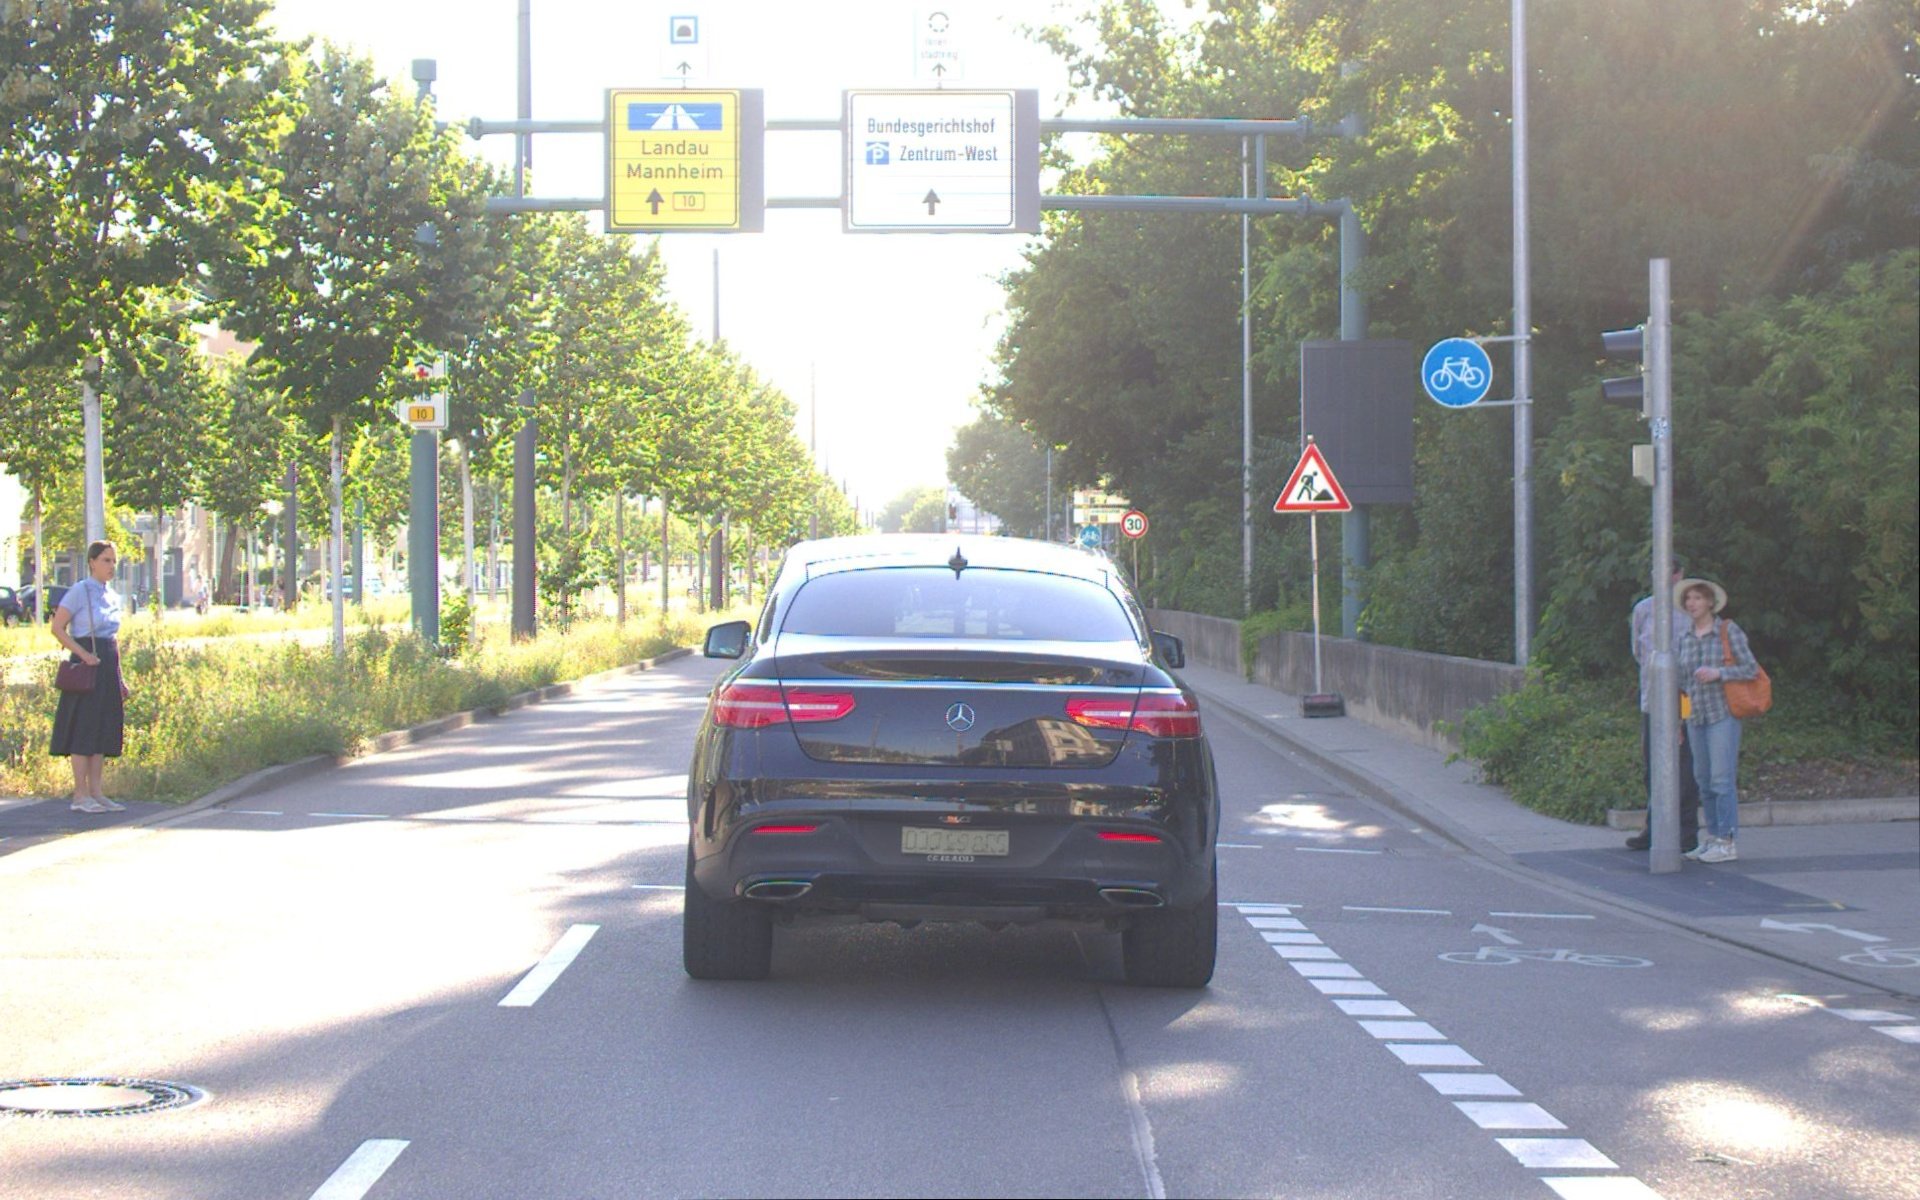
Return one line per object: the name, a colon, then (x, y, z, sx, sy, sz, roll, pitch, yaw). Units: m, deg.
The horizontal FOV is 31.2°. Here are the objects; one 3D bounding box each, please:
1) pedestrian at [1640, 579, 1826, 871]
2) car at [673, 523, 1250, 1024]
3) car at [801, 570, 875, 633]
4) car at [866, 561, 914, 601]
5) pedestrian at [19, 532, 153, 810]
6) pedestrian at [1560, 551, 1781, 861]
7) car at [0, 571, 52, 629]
pedestrian: (4.467, 0.705, 19.900, 0.766, 1.631, 0.770, -2, 1, -9)
car: (-0.086, 0.587, 14.049, 1.993, 1.728, 4.000, 1, 1, -3)
car: (-3.269, 0.021, 92.487, 1.885, 1.575, 4.000, 1, 1, -1)
car: (-2.864, -0.784, 140.856, 1.885, 1.575, 4.000, 1, 1, -1)
pedestrian: (-5.417, 0.428, 21.328, 0.598, 1.693, 0.714, 0, 0, 5)
pedestrian: (4.280, 0.620, 20.729, 0.857, 1.796, 0.907, -2, 1, -34)
car: (-31.155, -0.007, 109.699, 3.748, 1.823, 1.824, 1, 1, -40)
